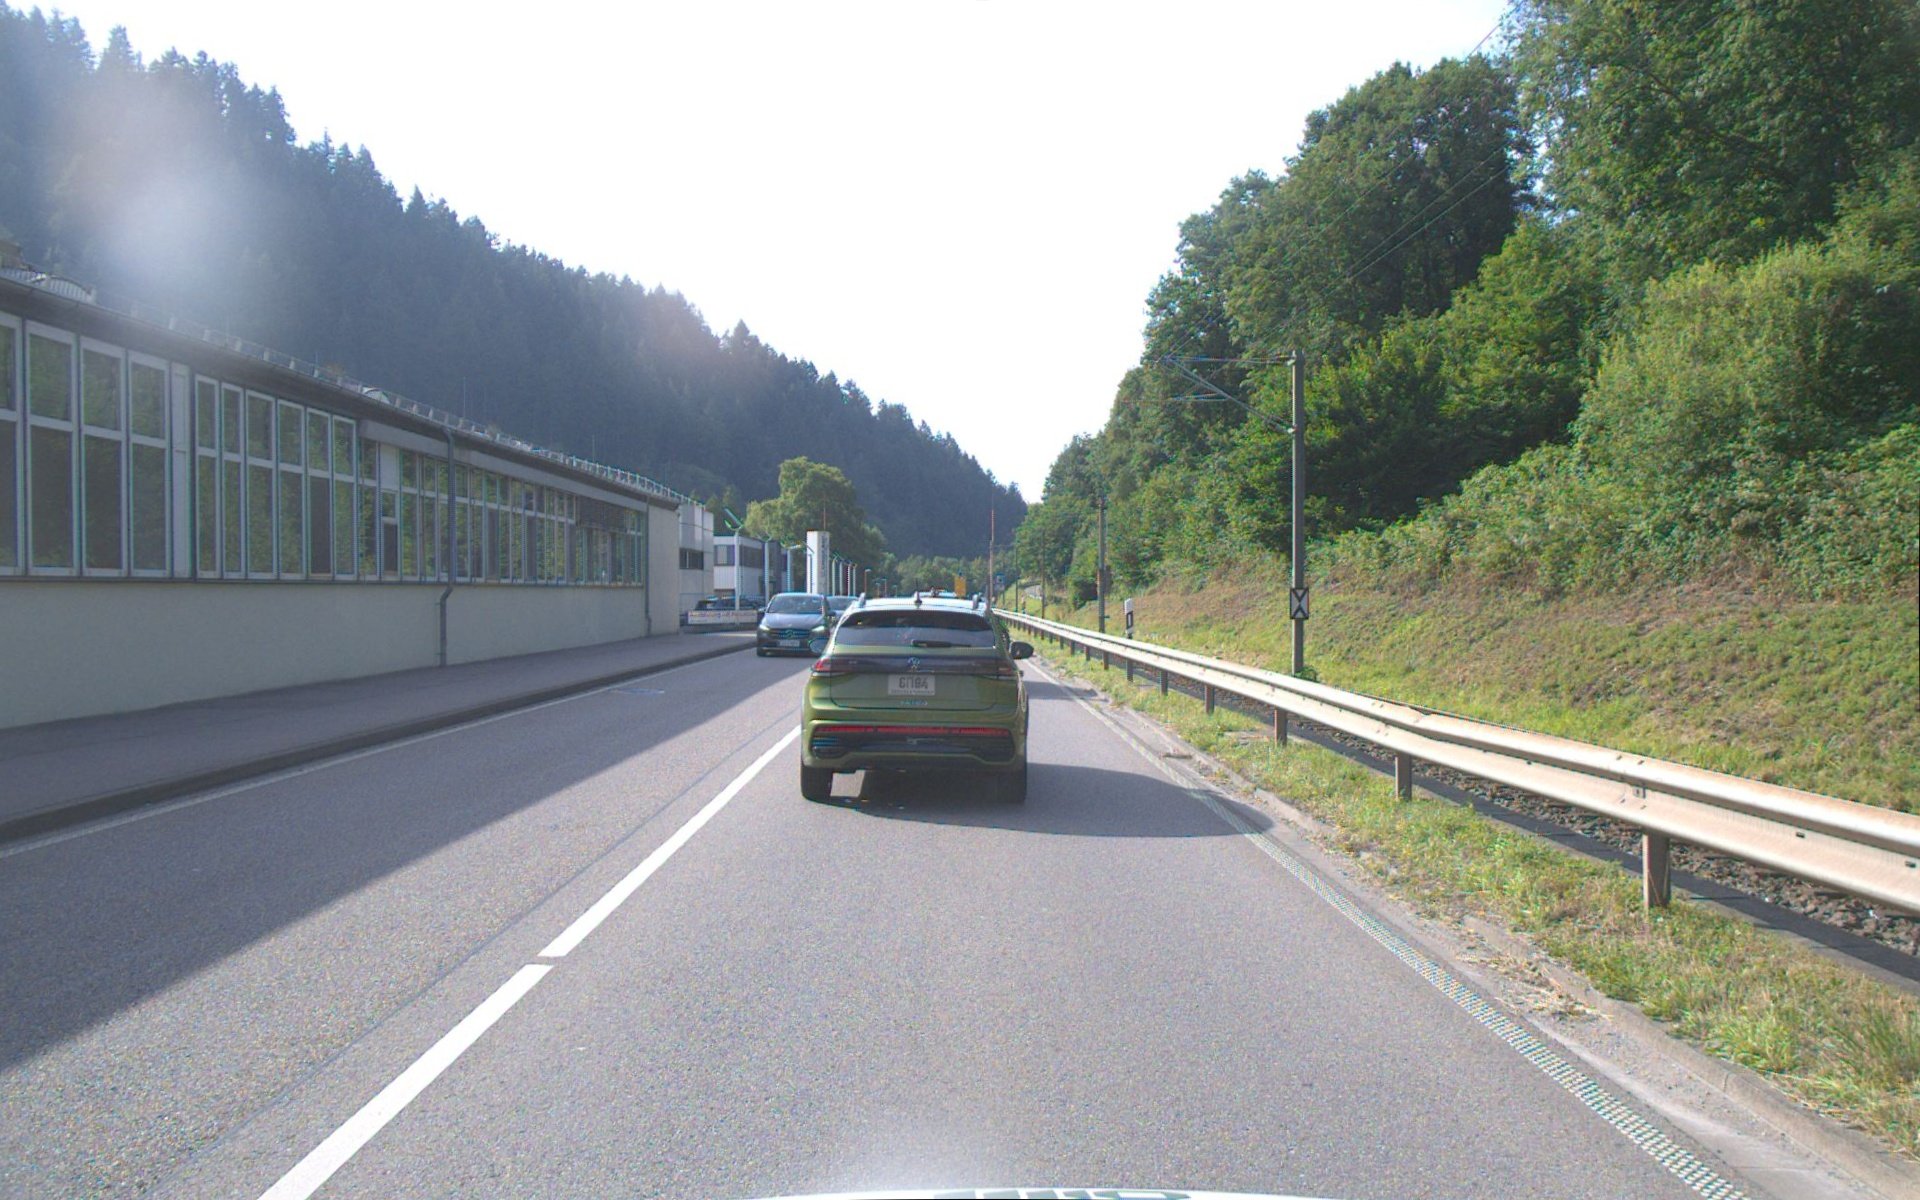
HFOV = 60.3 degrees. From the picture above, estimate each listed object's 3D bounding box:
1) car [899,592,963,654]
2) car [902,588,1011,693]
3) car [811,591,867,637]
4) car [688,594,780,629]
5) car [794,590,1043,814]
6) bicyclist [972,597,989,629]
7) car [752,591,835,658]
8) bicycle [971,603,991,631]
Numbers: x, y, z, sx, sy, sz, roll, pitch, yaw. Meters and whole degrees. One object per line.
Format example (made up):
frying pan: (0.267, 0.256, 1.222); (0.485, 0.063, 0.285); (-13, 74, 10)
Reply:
car: (-0.837, 0.612, 46.308); (1.704, 1.630, 3.999); (1, 0, -2)
car: (-0.109, 0.632, 27.889); (1.704, 1.630, 3.999); (1, 0, -2)
car: (-4.292, 0.478, 59.142); (1.737, 1.516, 4.051); (1, 0, -1)
car: (-10.717, 0.510, 78.625); (1.854, 1.619, 4.152); (0, 0, 40)
car: (-0.340, 0.702, 13.404); (1.704, 1.534, 3.999); (0, 0, -2)
bicyclist: (0.933, 0.580, 75.597); (0.766, 1.436, 0.674); (0, 0, -3)
car: (-4.131, 0.576, 41.612); (1.684, 1.541, 4.198); (1, 0, -1)
bicycle: (0.946, 0.755, 75.322); (0.795, 1.272, 2.121); (0, 0, -3)
